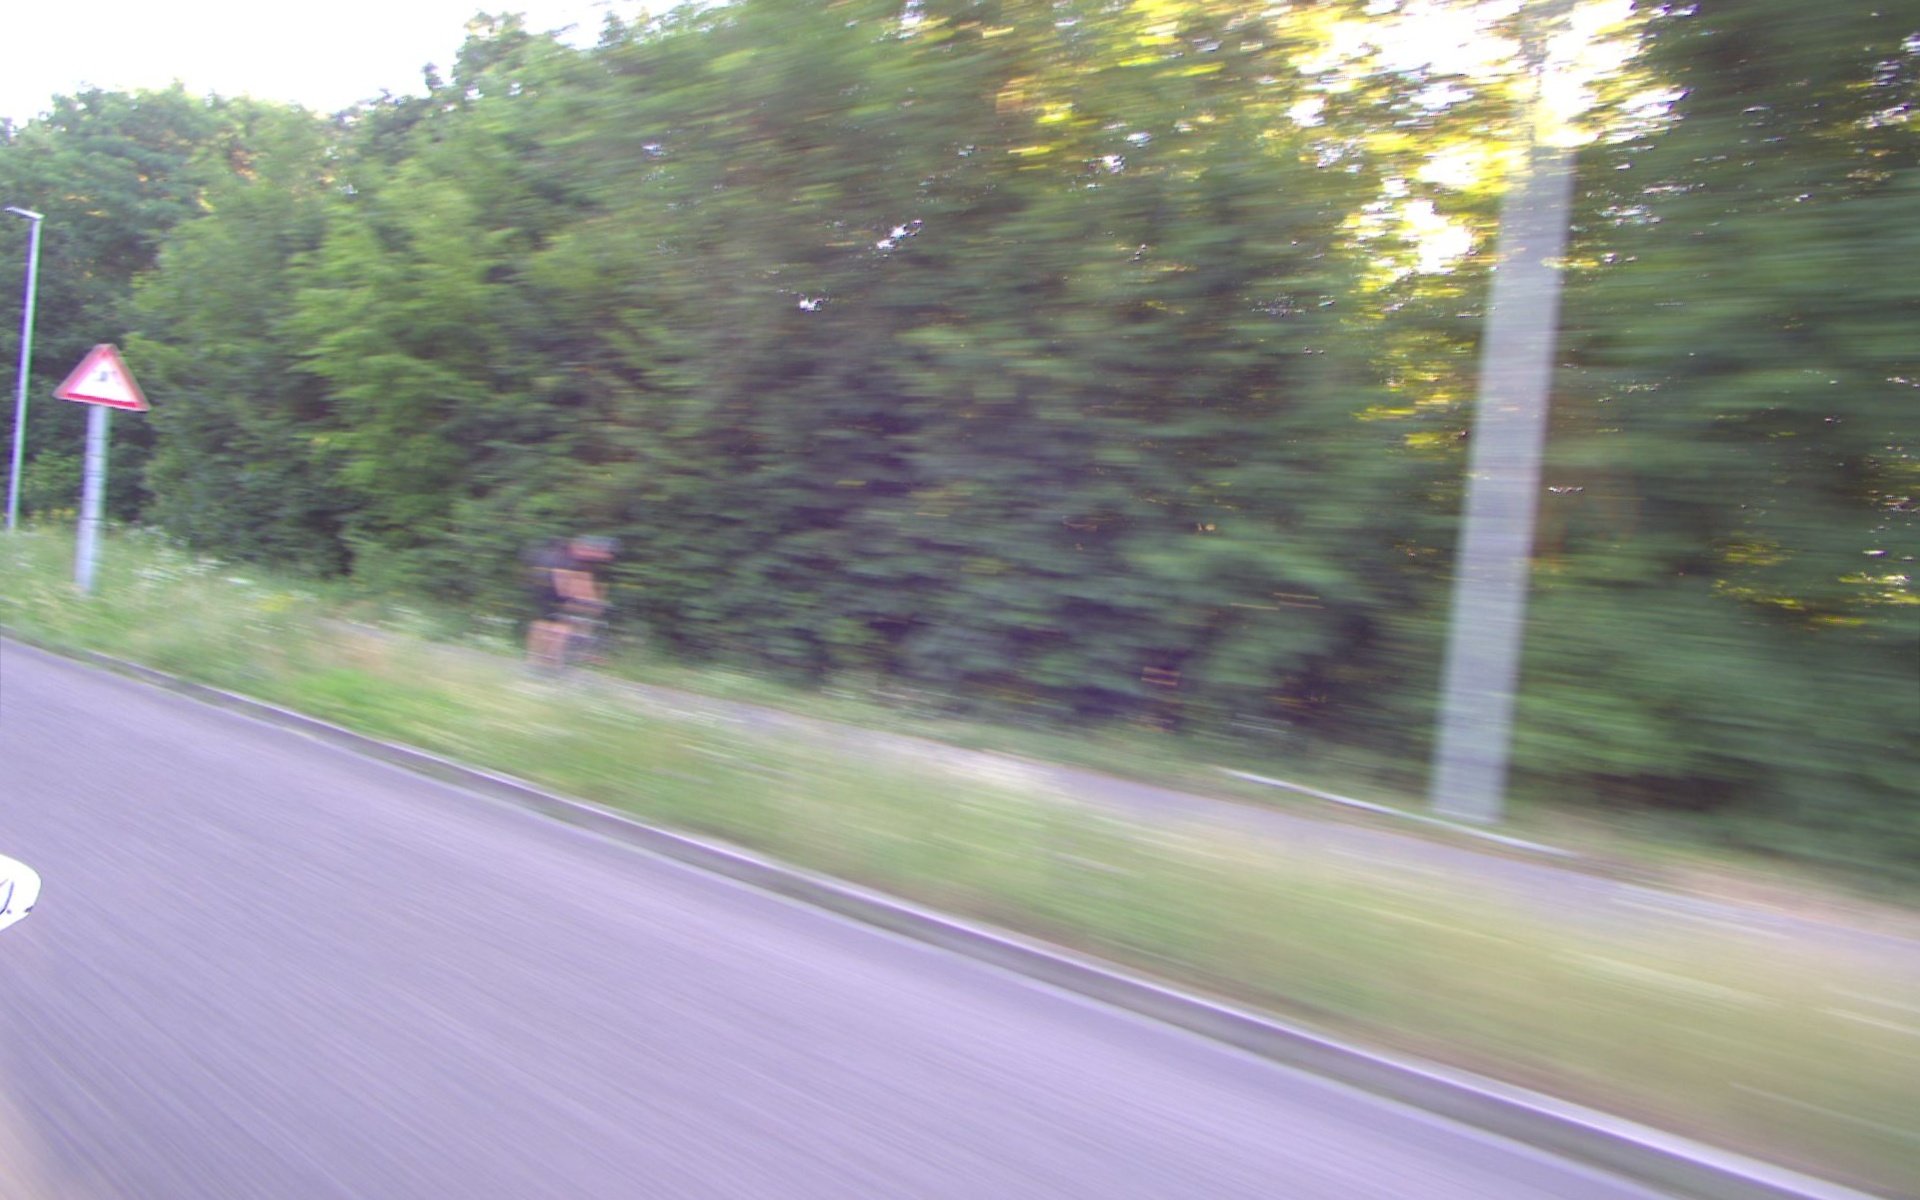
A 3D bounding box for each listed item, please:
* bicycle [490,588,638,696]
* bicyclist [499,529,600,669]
[{"bbox_3d":[-4.431,0.451,11.219,1.663,1.008,0.611,6,1,33],"label":"bicycle"},{"bbox_3d":[-4.614,-0.011,11.306,0.767,1.474,0.603,7,1,33],"label":"bicyclist"}]
